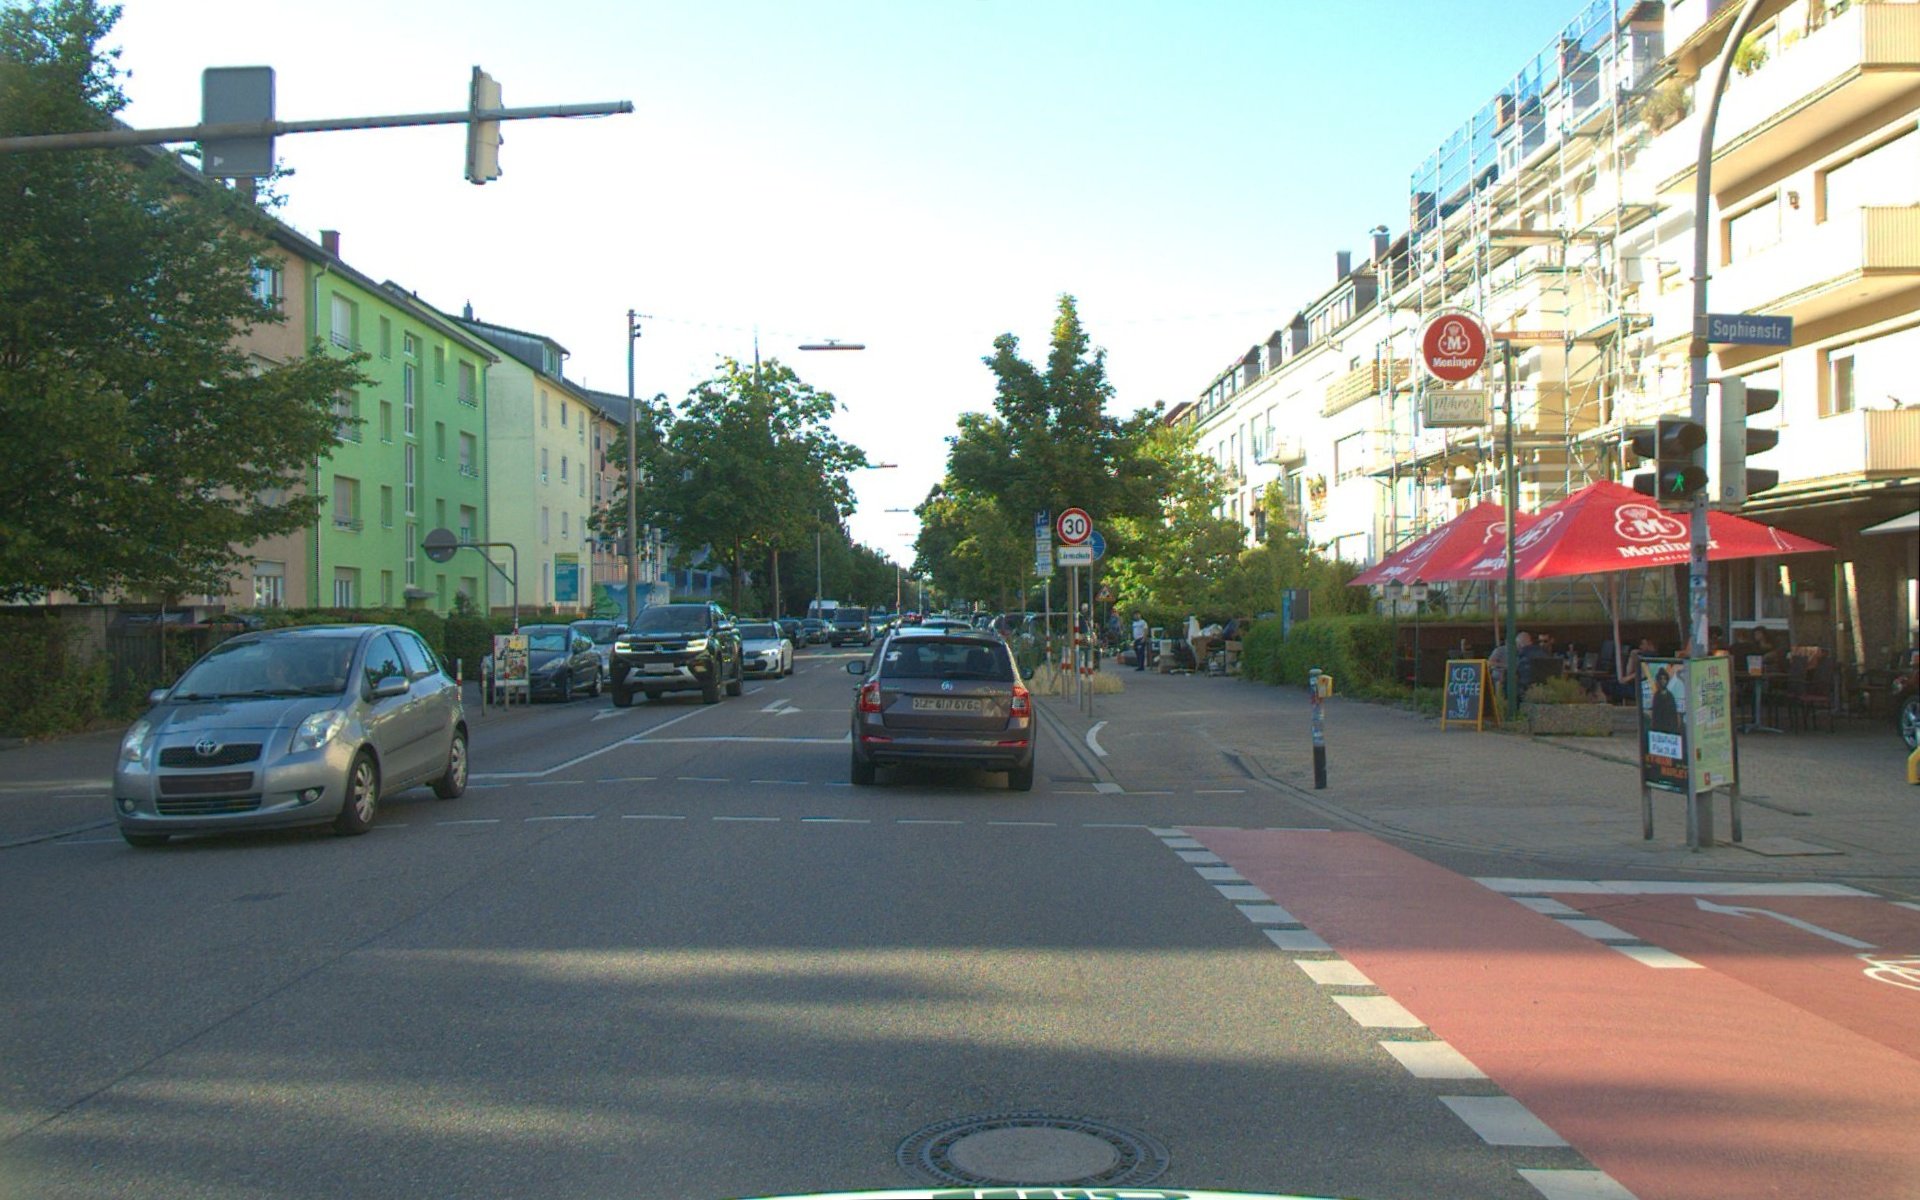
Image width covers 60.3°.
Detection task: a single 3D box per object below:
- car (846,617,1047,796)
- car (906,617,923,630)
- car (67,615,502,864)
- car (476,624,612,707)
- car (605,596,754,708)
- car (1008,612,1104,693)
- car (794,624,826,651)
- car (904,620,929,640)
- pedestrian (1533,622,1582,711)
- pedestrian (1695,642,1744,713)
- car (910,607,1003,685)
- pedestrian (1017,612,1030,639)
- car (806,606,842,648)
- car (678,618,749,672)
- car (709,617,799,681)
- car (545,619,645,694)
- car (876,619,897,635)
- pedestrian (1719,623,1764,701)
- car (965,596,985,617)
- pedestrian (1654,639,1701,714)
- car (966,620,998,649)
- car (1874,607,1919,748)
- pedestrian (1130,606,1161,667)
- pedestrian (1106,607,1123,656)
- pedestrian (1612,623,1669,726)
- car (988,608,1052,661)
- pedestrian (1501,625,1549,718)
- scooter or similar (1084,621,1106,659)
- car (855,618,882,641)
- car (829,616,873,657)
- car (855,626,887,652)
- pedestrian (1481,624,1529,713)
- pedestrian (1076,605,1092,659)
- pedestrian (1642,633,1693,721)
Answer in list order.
[{"bbox_3d":[-0.086,0.944,16.316,1.718,1.518,4.000,1,-1,1],"label":"car"},{"bbox_3d":[-6.174,3.237,225.668,1.955,1.780,3.994,-1,-1,-6],"label":"car"},{"bbox_3d":[-5.062,0.962,13.040,1.768,1.585,3.999,-2,-1,-1],"label":"car"},{"bbox_3d":[-8.048,1.231,32.326,1.619,1.505,3.943,-1,-1,0],"label":"car"},{"bbox_3d":[-5.152,0.934,31.063,1.824,1.862,5.226,-2,-1,0],"label":"car"},{"bbox_3d":[2.044,1.111,36.304,1.756,1.660,4.027,0,-1,-2],"label":"car"},{"bbox_3d":[-8.788,2.185,97.265,1.579,1.499,3.811,1,-1,-1],"label":"car"},{"bbox_3d":[-3.327,2.283,125.950,1.746,1.506,3.967,1,-1,-4],"label":"car"},{"bbox_3d":[7.953,0.885,22.037,0.476,1.170,0.526,0,-1,3],"label":"pedestrian"},{"bbox_3d":[10.904,1.105,23.749,0.513,1.008,0.413,0,-1,5],"label":"pedestrian"},{"bbox_3d":[-0.113,1.026,36.387,1.854,1.533,3.788,3,-2,-1],"label":"car"},{"bbox_3d":[4.550,1.811,118.686,0.781,1.893,0.951,-1,-1,10],"label":"pedestrian"},{"bbox_3d":[-8.897,1.769,108.575,1.953,2.662,7.102,1,-1,-1],"label":"car"},{"bbox_3d":[-8.392,1.517,56.602,1.747,1.763,4.616,-1,-1,0],"label":"car"},{"bbox_3d":[-5.336,1.247,43.397,1.799,1.499,4.670,-2,-1,-1],"label":"car"},{"bbox_3d":[-8.156,1.235,37.195,1.604,1.579,3.783,-1,-1,-4],"label":"car"},{"bbox_3d":[-7.031,2.593,158.205,1.665,1.496,4.294,-2,-1,2],"label":"car"},{"bbox_3d":[12.263,0.976,25.954,0.513,1.210,0.413,0,-3,5],"label":"pedestrian"},{"bbox_3d":[1.352,0.575,145.161,1.718,1.716,4.252,1,-1,1],"label":"car"},{"bbox_3d":[10.332,1.090,23.821,0.513,1.067,0.413,0,-1,5],"label":"pedestrian"},{"bbox_3d":[1.240,1.972,95.714,1.683,1.629,4.095,-1,-1,-1],"label":"car"},{"bbox_3d":[11.185,0.801,16.464,1.791,1.510,4.203,-1,-1,-1],"label":"car"},{"bbox_3d":[4.881,0.960,43.527,0.547,1.595,0.744,0,-1,-19],"label":"pedestrian"},{"bbox_3d":[5.464,1.102,58.518,0.500,1.727,0.526,0,-1,-6],"label":"pedestrian"},{"bbox_3d":[8.770,0.950,21.333,0.513,1.305,0.540,0,-1,1],"label":"pedestrian"},{"bbox_3d":[1.971,1.145,55.602,1.687,1.685,4.594,0,-1,-4],"label":"car"},{"bbox_3d":[7.206,0.903,21.108,0.403,1.170,0.632,0,-1,3],"label":"pedestrian"},{"bbox_3d":[4.739,1.405,58.138,0.730,1.340,0.721,-1,-1,6],"label":"scooter or similar"},{"bbox_3d":[-6.629,2.149,120.184,1.795,1.496,4.450,-3,-1,-1],"label":"car"},{"bbox_3d":[-5.639,1.884,85.954,1.953,1.980,4.776,-3,-1,-1],"label":"car"},{"bbox_3d":[-5.417,2.348,101.278,1.779,1.472,4.108,-3,-1,-2],"label":"car"},{"bbox_3d":[7.264,0.910,22.070,0.483,1.170,0.526,0,-1,3],"label":"pedestrian"},{"bbox_3d":[4.355,1.139,58.186,0.537,1.882,0.765,-1,-1,6],"label":"pedestrian"},{"bbox_3d":[9.512,1.029,22.237,0.513,1.170,0.413,0,-1,5],"label":"pedestrian"}]
